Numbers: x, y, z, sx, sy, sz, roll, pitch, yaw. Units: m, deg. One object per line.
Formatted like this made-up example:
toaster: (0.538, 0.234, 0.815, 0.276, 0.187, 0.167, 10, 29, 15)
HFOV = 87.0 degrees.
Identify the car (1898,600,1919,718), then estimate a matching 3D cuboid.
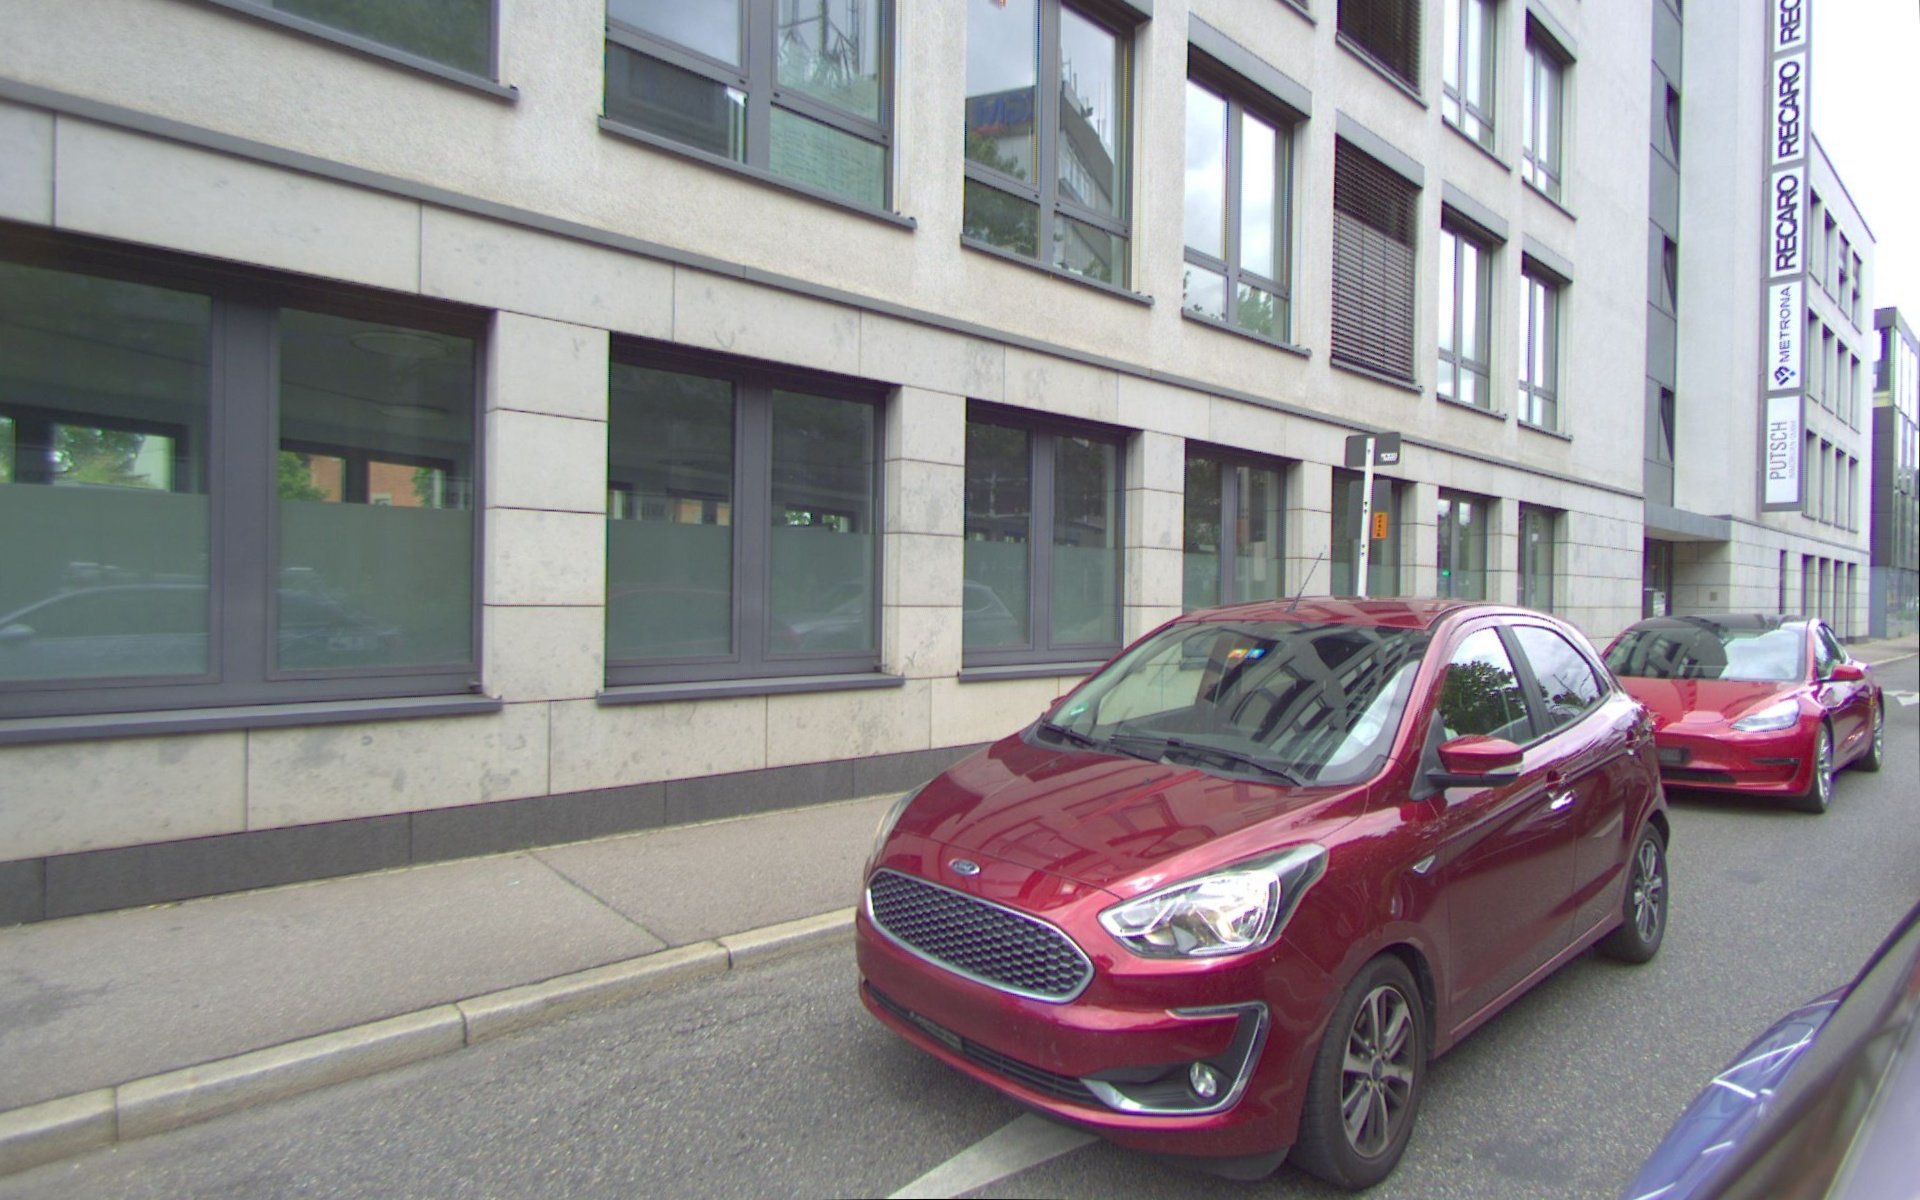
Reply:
car: (13.772, 0.726, 11.857, 3.672, 1.476, 1.741, 0, -1, 9)

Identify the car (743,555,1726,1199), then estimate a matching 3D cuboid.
car: (1.355, 0.694, 4.007, 3.930, 1.511, 1.888, 0, -2, -41)

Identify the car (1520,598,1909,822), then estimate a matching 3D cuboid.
car: (6.696, 0.737, 8.797, 4.331, 1.476, 1.823, 0, -1, -41)
